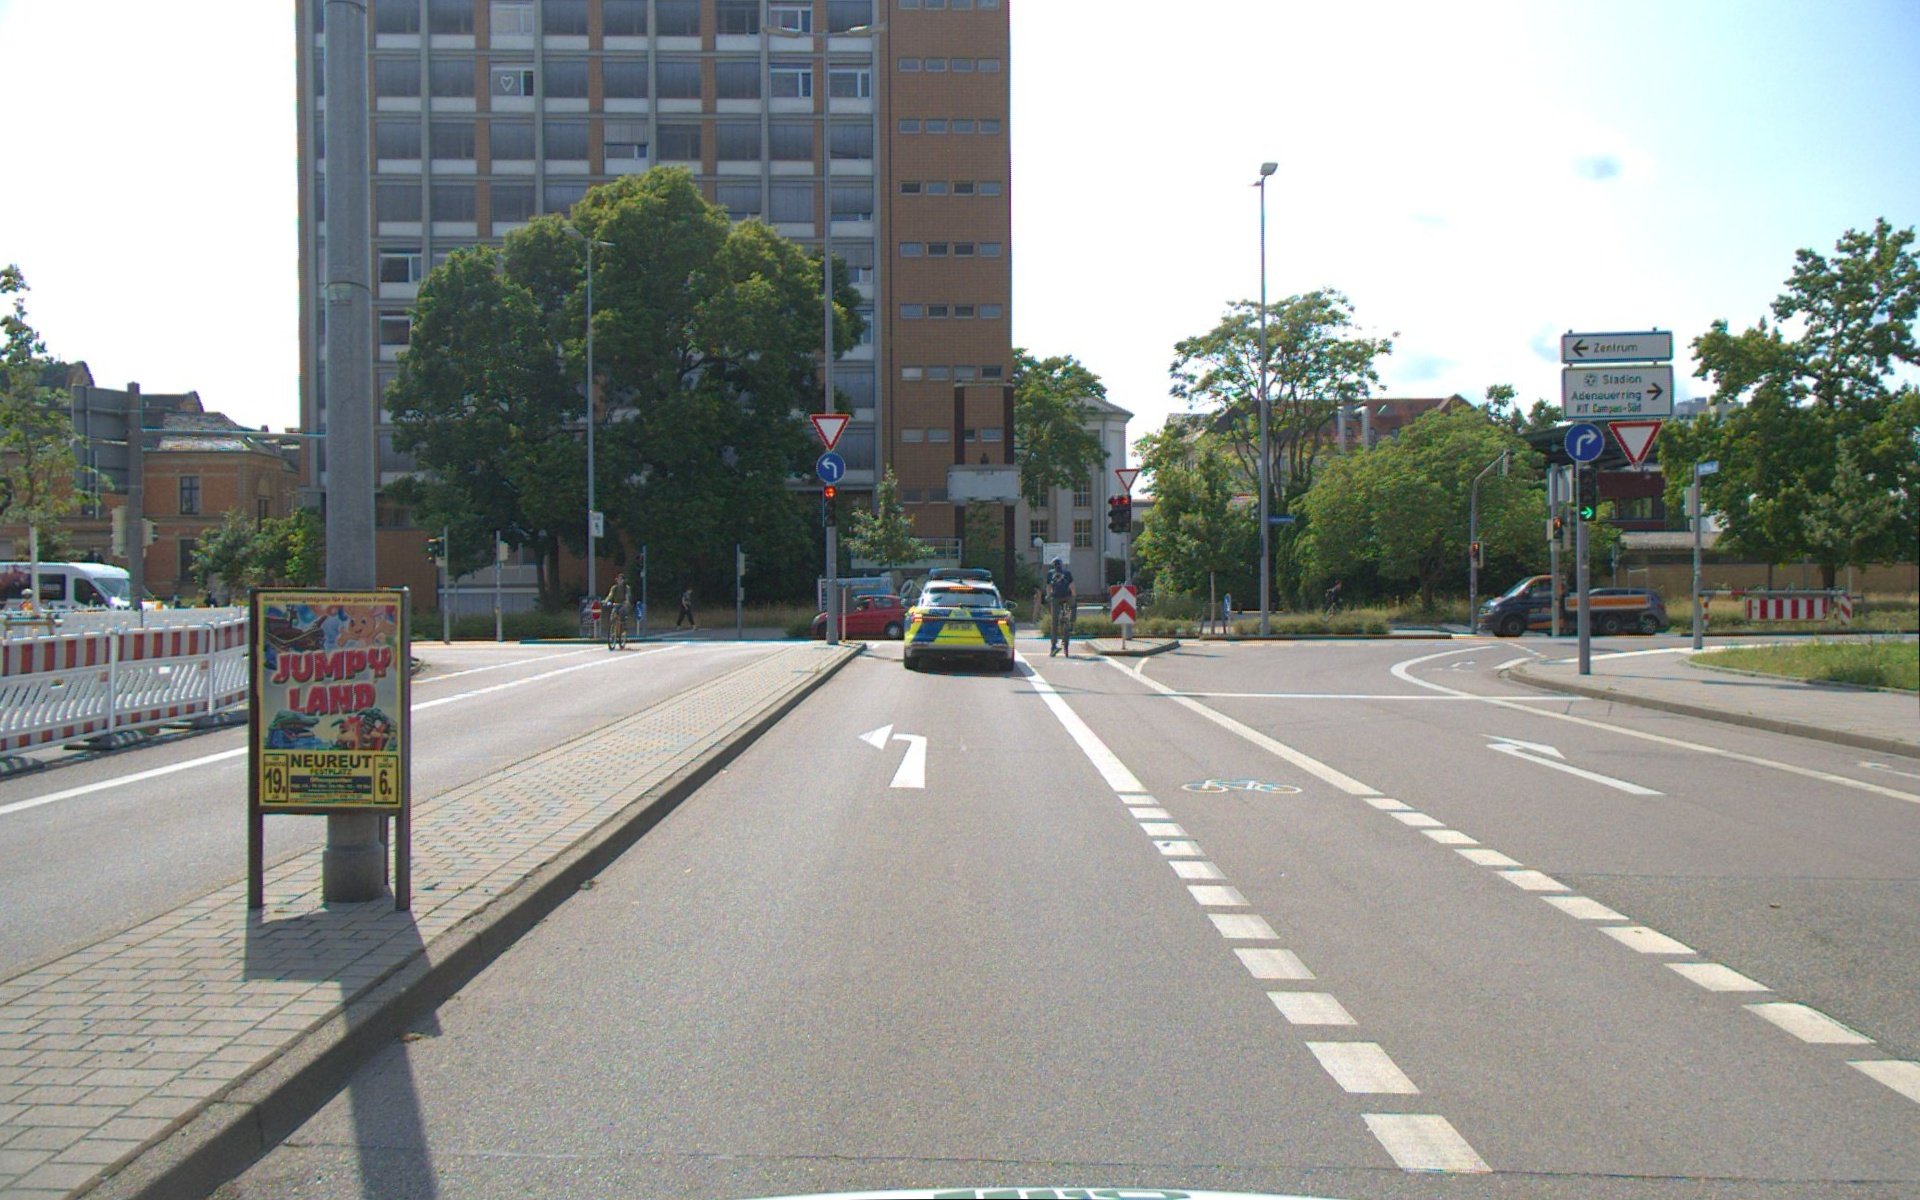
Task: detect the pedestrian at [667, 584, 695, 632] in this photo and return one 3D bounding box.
[{"bbox_3d":[-11.416,0.327,67.645,0.924,1.916,0.908,-1,0,2],"label":"pedestrian"}]

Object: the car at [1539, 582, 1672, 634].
[{"bbox_3d":[21.446,0.252,55.021,3.828,1.637,1.627,-1,0,8],"label":"car"}]

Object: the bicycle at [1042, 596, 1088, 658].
[{"bbox_3d":[2.053,0.513,32.570,0.706,1.102,2.190,-1,2,-1],"label":"bicycle"}]

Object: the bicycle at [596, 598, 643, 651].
[{"bbox_3d":[-7.720,0.536,37.588,0.621,1.102,2.190,-1,2,-1],"label":"bicycle"}]

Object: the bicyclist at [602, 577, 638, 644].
[{"bbox_3d":[-7.724,0.227,37.603,0.621,1.496,0.839,-1,1,-1],"label":"bicyclist"}]

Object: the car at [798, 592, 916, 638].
[{"bbox_3d":[-3.478,0.509,56.063,3.644,1.482,1.628,-1,0,12],"label":"car"}]

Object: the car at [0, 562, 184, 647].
[{"bbox_3d":[-25.572,0.141,47.937,5.453,2.359,2.303,-1,0,18],"label":"car"}]

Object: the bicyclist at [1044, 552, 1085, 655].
[{"bbox_3d":[2.052,0.056,32.550,0.703,2.007,0.839,-1,1,-1],"label":"bicyclist"}]

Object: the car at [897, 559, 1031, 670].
[{"bbox_3d":[0.038,0.210,28.143,2.087,1.713,4.102,1,1,-1],"label":"car"}]

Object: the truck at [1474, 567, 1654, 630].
[{"bbox_3d":[18.968,-0.053,52.153,5.007,1.870,2.002,-1,0,8],"label":"truck"}]
